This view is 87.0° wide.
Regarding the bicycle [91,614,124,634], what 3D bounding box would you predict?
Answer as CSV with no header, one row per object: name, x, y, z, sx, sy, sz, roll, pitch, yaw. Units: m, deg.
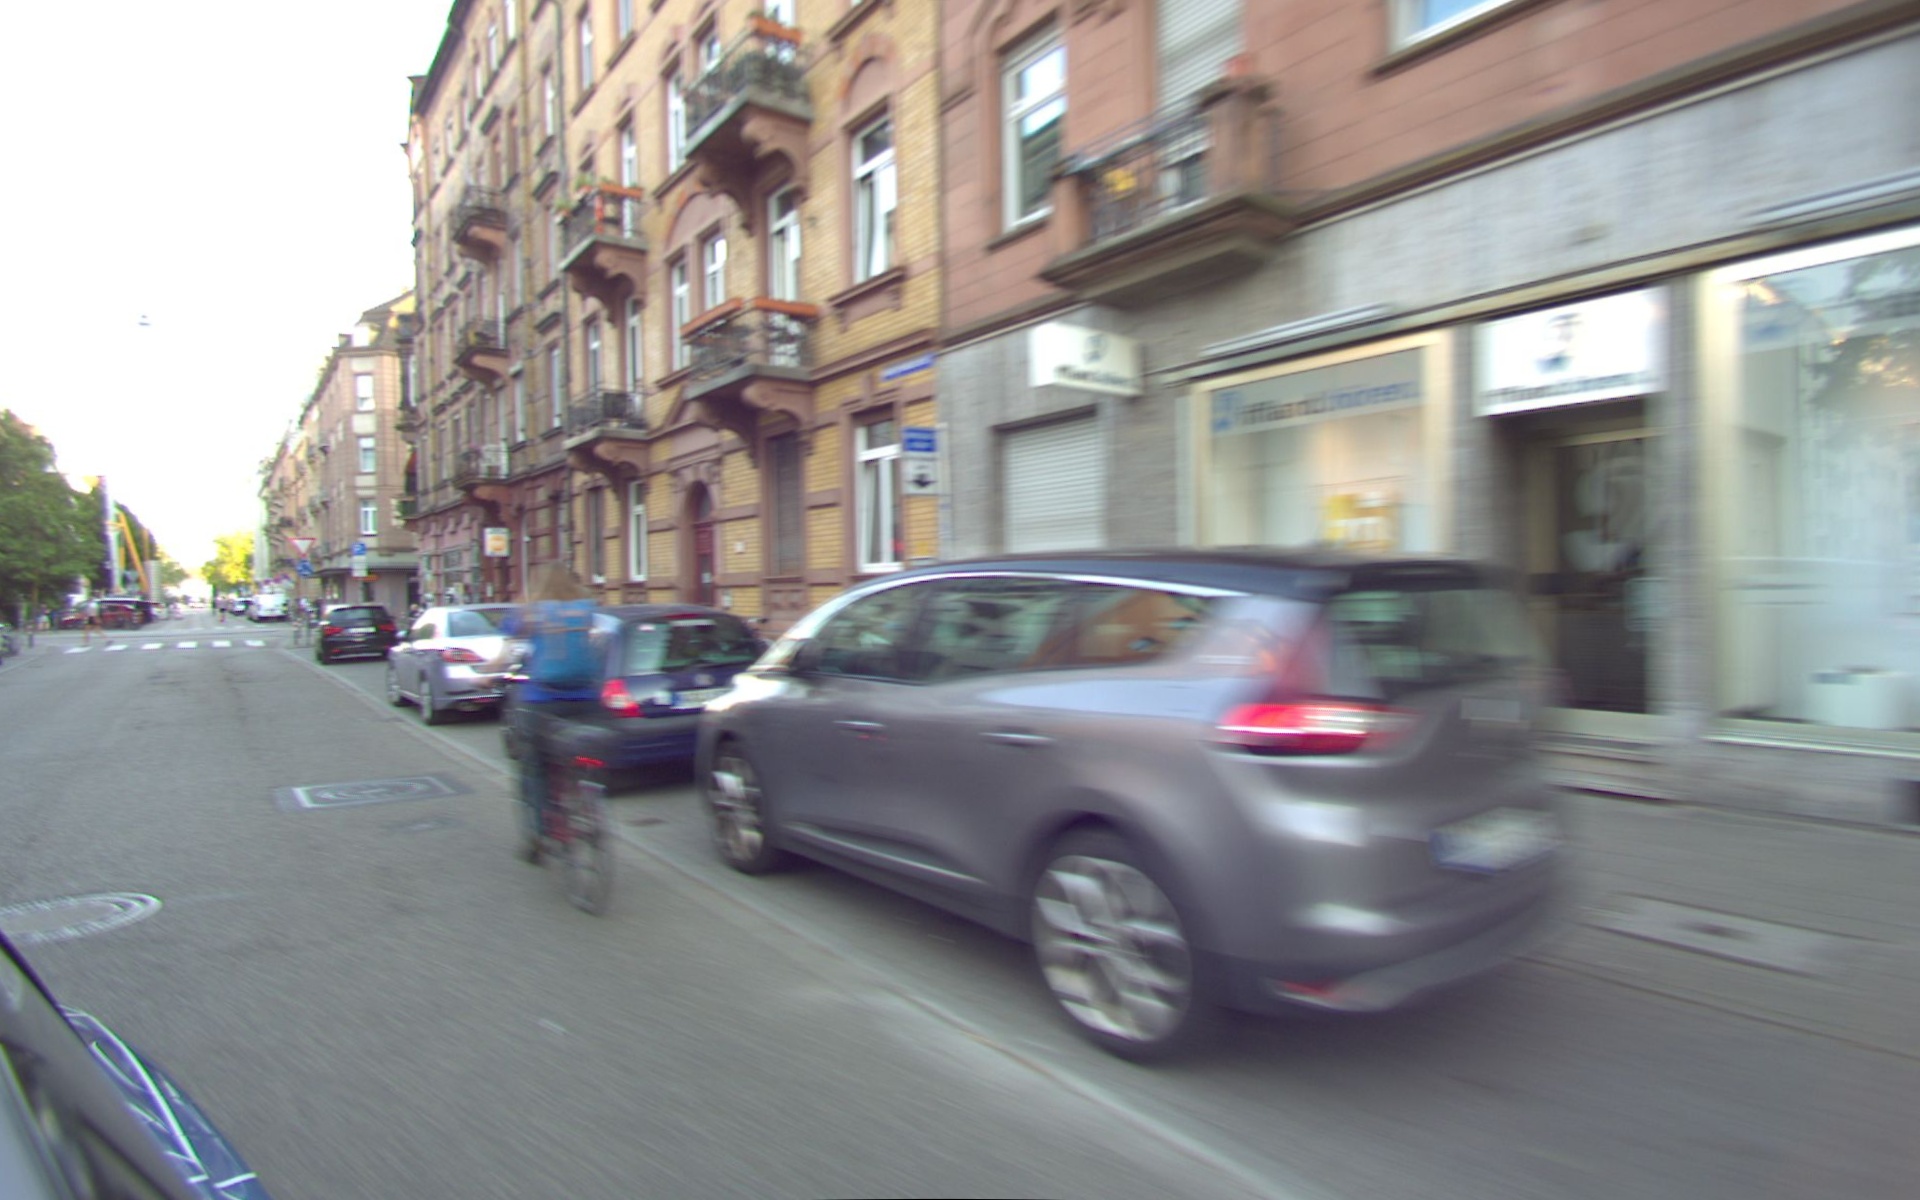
bicycle,-50.208,1.394,59.588,2.104,1.140,0.660,0,-1,26

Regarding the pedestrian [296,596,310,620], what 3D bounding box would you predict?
pedestrian,-49.142,0.608,75.688,0.736,1.756,1.216,-3,1,-31

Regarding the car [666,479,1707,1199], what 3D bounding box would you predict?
car,0.397,0.538,4.590,1.829,1.646,4.455,-3,1,-37

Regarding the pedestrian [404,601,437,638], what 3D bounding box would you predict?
pedestrian,-19.380,0.713,36.373,0.907,1.263,0.642,-2,3,38

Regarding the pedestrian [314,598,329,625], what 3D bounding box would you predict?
pedestrian,-42.307,0.754,67.070,0.644,1.792,0.694,-2,0,-19

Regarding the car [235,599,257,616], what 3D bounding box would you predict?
car,-84.770,0.863,120.149,1.967,1.751,4.011,-2,2,-34

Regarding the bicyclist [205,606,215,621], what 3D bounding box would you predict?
bicyclist,-82.984,1.476,111.994,0.743,1.652,1.202,-2,0,-43

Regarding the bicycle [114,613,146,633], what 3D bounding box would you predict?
bicycle,-49.585,1.395,60.488,2.104,1.178,0.660,0,-1,26

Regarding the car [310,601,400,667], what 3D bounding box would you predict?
car,-15.161,0.795,25.280,1.671,1.431,3.864,-3,1,-34

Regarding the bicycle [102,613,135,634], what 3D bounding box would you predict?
bicycle,-50.107,1.392,60.253,2.104,1.178,0.660,0,-1,26

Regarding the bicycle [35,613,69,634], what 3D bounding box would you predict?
bicycle,-51.280,1.315,57.148,2.104,1.174,0.660,0,-1,26

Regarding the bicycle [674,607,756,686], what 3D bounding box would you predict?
bicycle,-3.868,0.706,15.892,0.542,1.132,1.763,-5,2,-36

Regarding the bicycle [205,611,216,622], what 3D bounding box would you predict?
bicycle,-82.969,1.848,111.996,0.743,1.139,1.978,-2,0,-42

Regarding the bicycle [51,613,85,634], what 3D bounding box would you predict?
bicycle,-50.946,1.336,57.791,2.104,1.174,0.660,0,-1,26

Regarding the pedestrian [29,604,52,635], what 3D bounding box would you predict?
pedestrian,-48.433,1.020,53.327,0.530,1.619,0.870,-1,-1,-10

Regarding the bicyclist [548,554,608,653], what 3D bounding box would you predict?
bicyclist,-6.933,0.053,18.369,0.700,1.742,0.843,-3,2,-45

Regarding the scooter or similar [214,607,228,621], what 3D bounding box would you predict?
scooter or similar,-58.143,1.103,79.655,0.797,1.112,1.174,-1,0,-41

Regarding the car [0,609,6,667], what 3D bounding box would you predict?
car,-25.457,0.986,25.645,1.572,1.512,3.430,1,-1,-39

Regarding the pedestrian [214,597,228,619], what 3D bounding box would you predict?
pedestrian,-58.150,0.616,79.657,0.797,1.672,0.673,-1,0,-42

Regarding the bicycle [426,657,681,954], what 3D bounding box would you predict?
bicycle,-2.140,0.882,5.117,0.636,1.089,2.173,0,-1,-37

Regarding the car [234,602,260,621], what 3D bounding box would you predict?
car,-73.519,1.144,104.343,2.108,1.835,4.551,-2,1,-36

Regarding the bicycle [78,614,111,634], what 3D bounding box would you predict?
bicycle,-50.452,1.379,58.971,2.104,1.140,0.660,0,-1,26

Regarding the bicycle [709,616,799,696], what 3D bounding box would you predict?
bicycle,-3.032,0.783,14.760,0.542,1.045,1.763,-5,2,-36

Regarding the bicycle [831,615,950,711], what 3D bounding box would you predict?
bicycle,-0.869,0.718,12.195,0.443,1.030,1.852,-6,3,-36

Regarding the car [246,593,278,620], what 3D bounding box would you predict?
car,-52.923,0.454,76.670,1.850,1.918,4.336,-2,1,-36

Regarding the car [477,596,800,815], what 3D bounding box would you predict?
car,-2.972,0.733,8.845,1.564,1.431,3.705,-3,1,-36

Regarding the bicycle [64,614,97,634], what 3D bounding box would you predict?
bicycle,-50.706,1.356,58.332,2.104,1.140,0.660,0,-1,26

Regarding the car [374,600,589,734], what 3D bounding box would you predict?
car,-6.629,0.754,13.720,1.700,1.431,4.592,-3,2,-37

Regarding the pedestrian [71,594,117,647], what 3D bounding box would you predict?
pedestrian,-31.088,0.726,36.351,1.031,1.825,0.758,-3,-1,-26

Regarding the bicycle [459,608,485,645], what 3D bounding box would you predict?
bicycle,-14.900,0.800,30.873,0.419,1.061,1.903,-2,1,-33

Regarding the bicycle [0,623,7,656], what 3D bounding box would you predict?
bicycle,-30.151,1.225,30.977,1.399,0.991,0.511,0,0,-40

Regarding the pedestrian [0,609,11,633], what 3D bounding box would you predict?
pedestrian,-53.790,1.162,56.688,0.749,1.315,0.713,-1,0,33

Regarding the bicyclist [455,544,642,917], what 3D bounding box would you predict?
bicyclist,-2.049,0.576,5.001,0.636,1.633,0.920,0,-1,-38

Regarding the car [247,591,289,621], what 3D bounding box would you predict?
car,-49.112,0.409,71.817,2.108,1.972,4.779,-3,2,-38

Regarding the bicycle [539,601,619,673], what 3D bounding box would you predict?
bicycle,-6.942,0.640,18.406,0.700,1.205,1.743,-3,3,-44

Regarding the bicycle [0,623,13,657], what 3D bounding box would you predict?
bicycle,-29.774,1.227,30.677,1.458,1.009,0.512,1,0,-30

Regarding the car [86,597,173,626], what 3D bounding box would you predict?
car,-69.357,0.923,84.599,2.328,2.210,5.099,0,2,28

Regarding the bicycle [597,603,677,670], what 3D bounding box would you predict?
bicycle,-5.852,0.643,18.297,0.729,1.132,1.612,-3,1,-43

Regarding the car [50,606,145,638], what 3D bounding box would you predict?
car,-52.317,1.296,61.475,1.815,1.680,3.971,0,2,22

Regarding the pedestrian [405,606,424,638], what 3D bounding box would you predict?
pedestrian,-20.017,0.797,37.128,0.496,1.152,0.793,-2,2,-35
